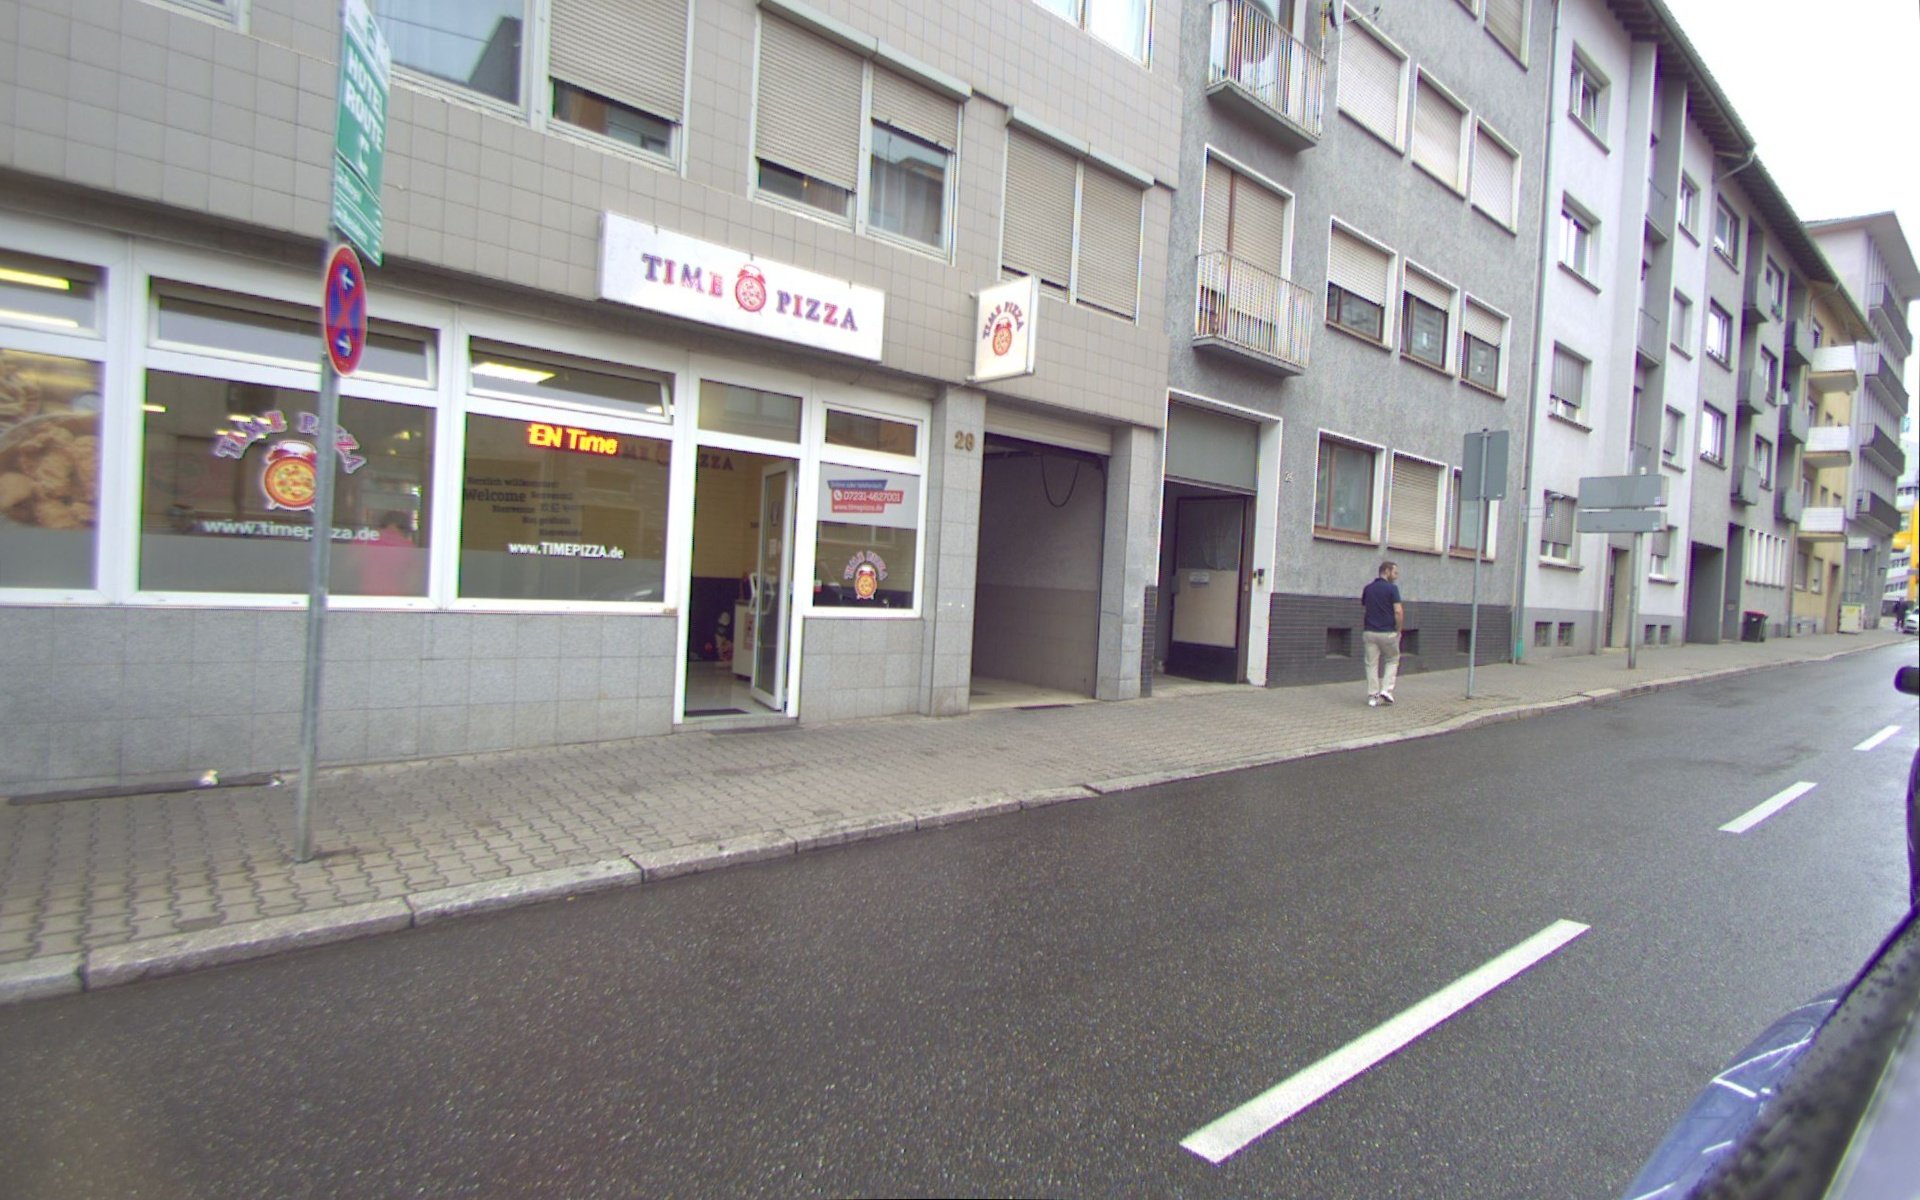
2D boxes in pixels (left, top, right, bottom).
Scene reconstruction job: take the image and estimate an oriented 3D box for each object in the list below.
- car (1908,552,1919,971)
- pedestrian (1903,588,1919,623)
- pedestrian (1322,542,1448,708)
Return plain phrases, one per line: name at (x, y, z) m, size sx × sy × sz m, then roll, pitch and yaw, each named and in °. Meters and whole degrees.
car at (6.089, 0.655, 4.951) m, size 4.144 × 1.743 × 1.697 m, roll -1°, pitch 0°, yaw -41°
pedestrian at (50.029, 0.284, 52.819) m, size 1.117 × 1.772 × 0.946 m, roll 4°, pitch 3°, yaw 44°
pedestrian at (5.242, 0.269, 12.482) m, size 1.100 × 1.887 × 0.871 m, roll 0°, pitch 6°, yaw -41°
